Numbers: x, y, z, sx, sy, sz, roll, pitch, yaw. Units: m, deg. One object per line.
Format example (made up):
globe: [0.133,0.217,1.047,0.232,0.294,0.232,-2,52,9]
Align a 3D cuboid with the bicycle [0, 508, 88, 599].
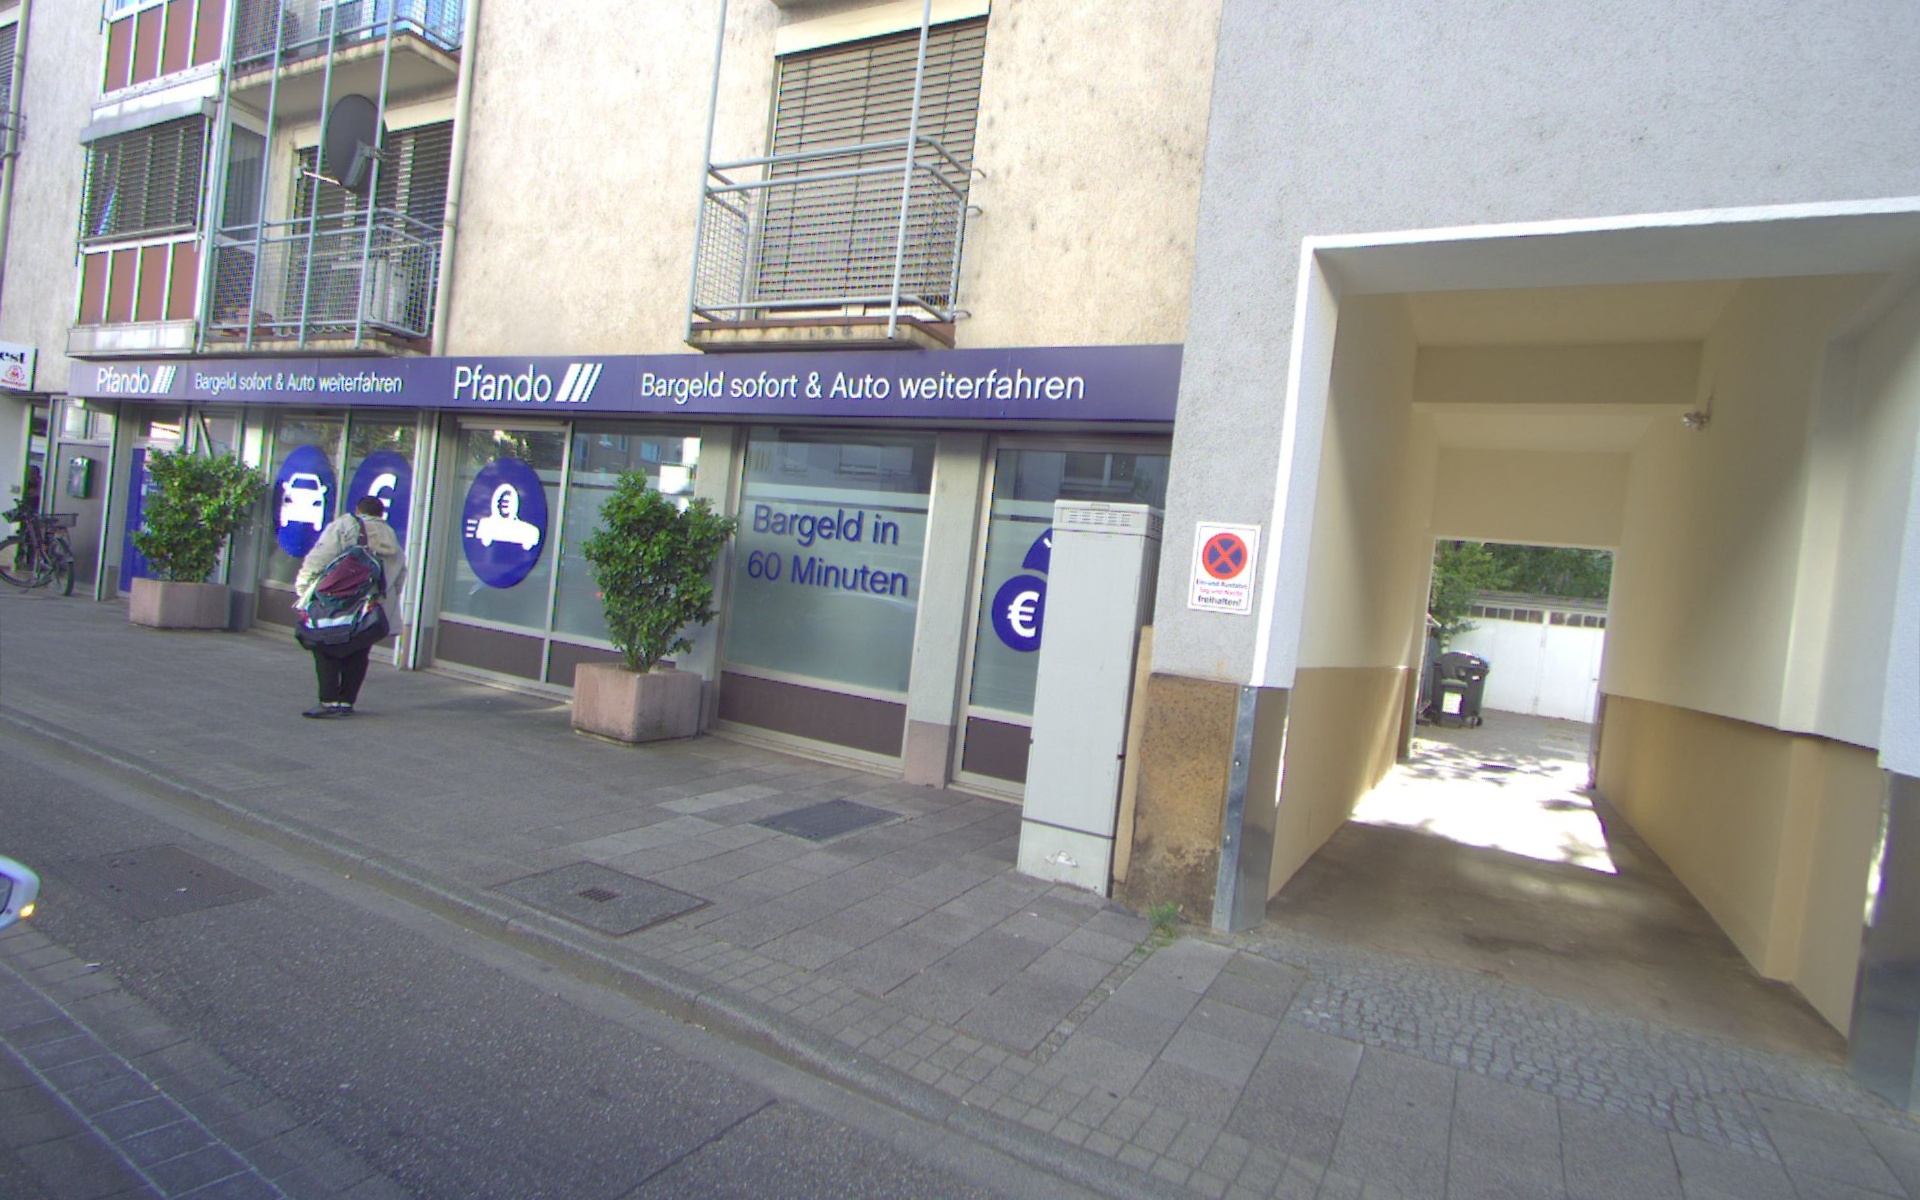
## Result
bicycle: [-11.843,-0.612,12.815,1.678,1.010,0.543,6,-1,32]

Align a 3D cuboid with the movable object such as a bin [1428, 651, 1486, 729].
movable object such as a bin: [9.938,1.783,20.116,0.873,1.411,0.758,7,2,28]

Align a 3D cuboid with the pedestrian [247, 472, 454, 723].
pedestrian: [-4.236,0.000,7.025,0.738,1.611,0.827,6,-1,31]

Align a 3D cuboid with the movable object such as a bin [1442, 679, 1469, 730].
movable object such as a bin: [9.564,2.009,19.434,0.365,0.920,0.420,7,2,28]
